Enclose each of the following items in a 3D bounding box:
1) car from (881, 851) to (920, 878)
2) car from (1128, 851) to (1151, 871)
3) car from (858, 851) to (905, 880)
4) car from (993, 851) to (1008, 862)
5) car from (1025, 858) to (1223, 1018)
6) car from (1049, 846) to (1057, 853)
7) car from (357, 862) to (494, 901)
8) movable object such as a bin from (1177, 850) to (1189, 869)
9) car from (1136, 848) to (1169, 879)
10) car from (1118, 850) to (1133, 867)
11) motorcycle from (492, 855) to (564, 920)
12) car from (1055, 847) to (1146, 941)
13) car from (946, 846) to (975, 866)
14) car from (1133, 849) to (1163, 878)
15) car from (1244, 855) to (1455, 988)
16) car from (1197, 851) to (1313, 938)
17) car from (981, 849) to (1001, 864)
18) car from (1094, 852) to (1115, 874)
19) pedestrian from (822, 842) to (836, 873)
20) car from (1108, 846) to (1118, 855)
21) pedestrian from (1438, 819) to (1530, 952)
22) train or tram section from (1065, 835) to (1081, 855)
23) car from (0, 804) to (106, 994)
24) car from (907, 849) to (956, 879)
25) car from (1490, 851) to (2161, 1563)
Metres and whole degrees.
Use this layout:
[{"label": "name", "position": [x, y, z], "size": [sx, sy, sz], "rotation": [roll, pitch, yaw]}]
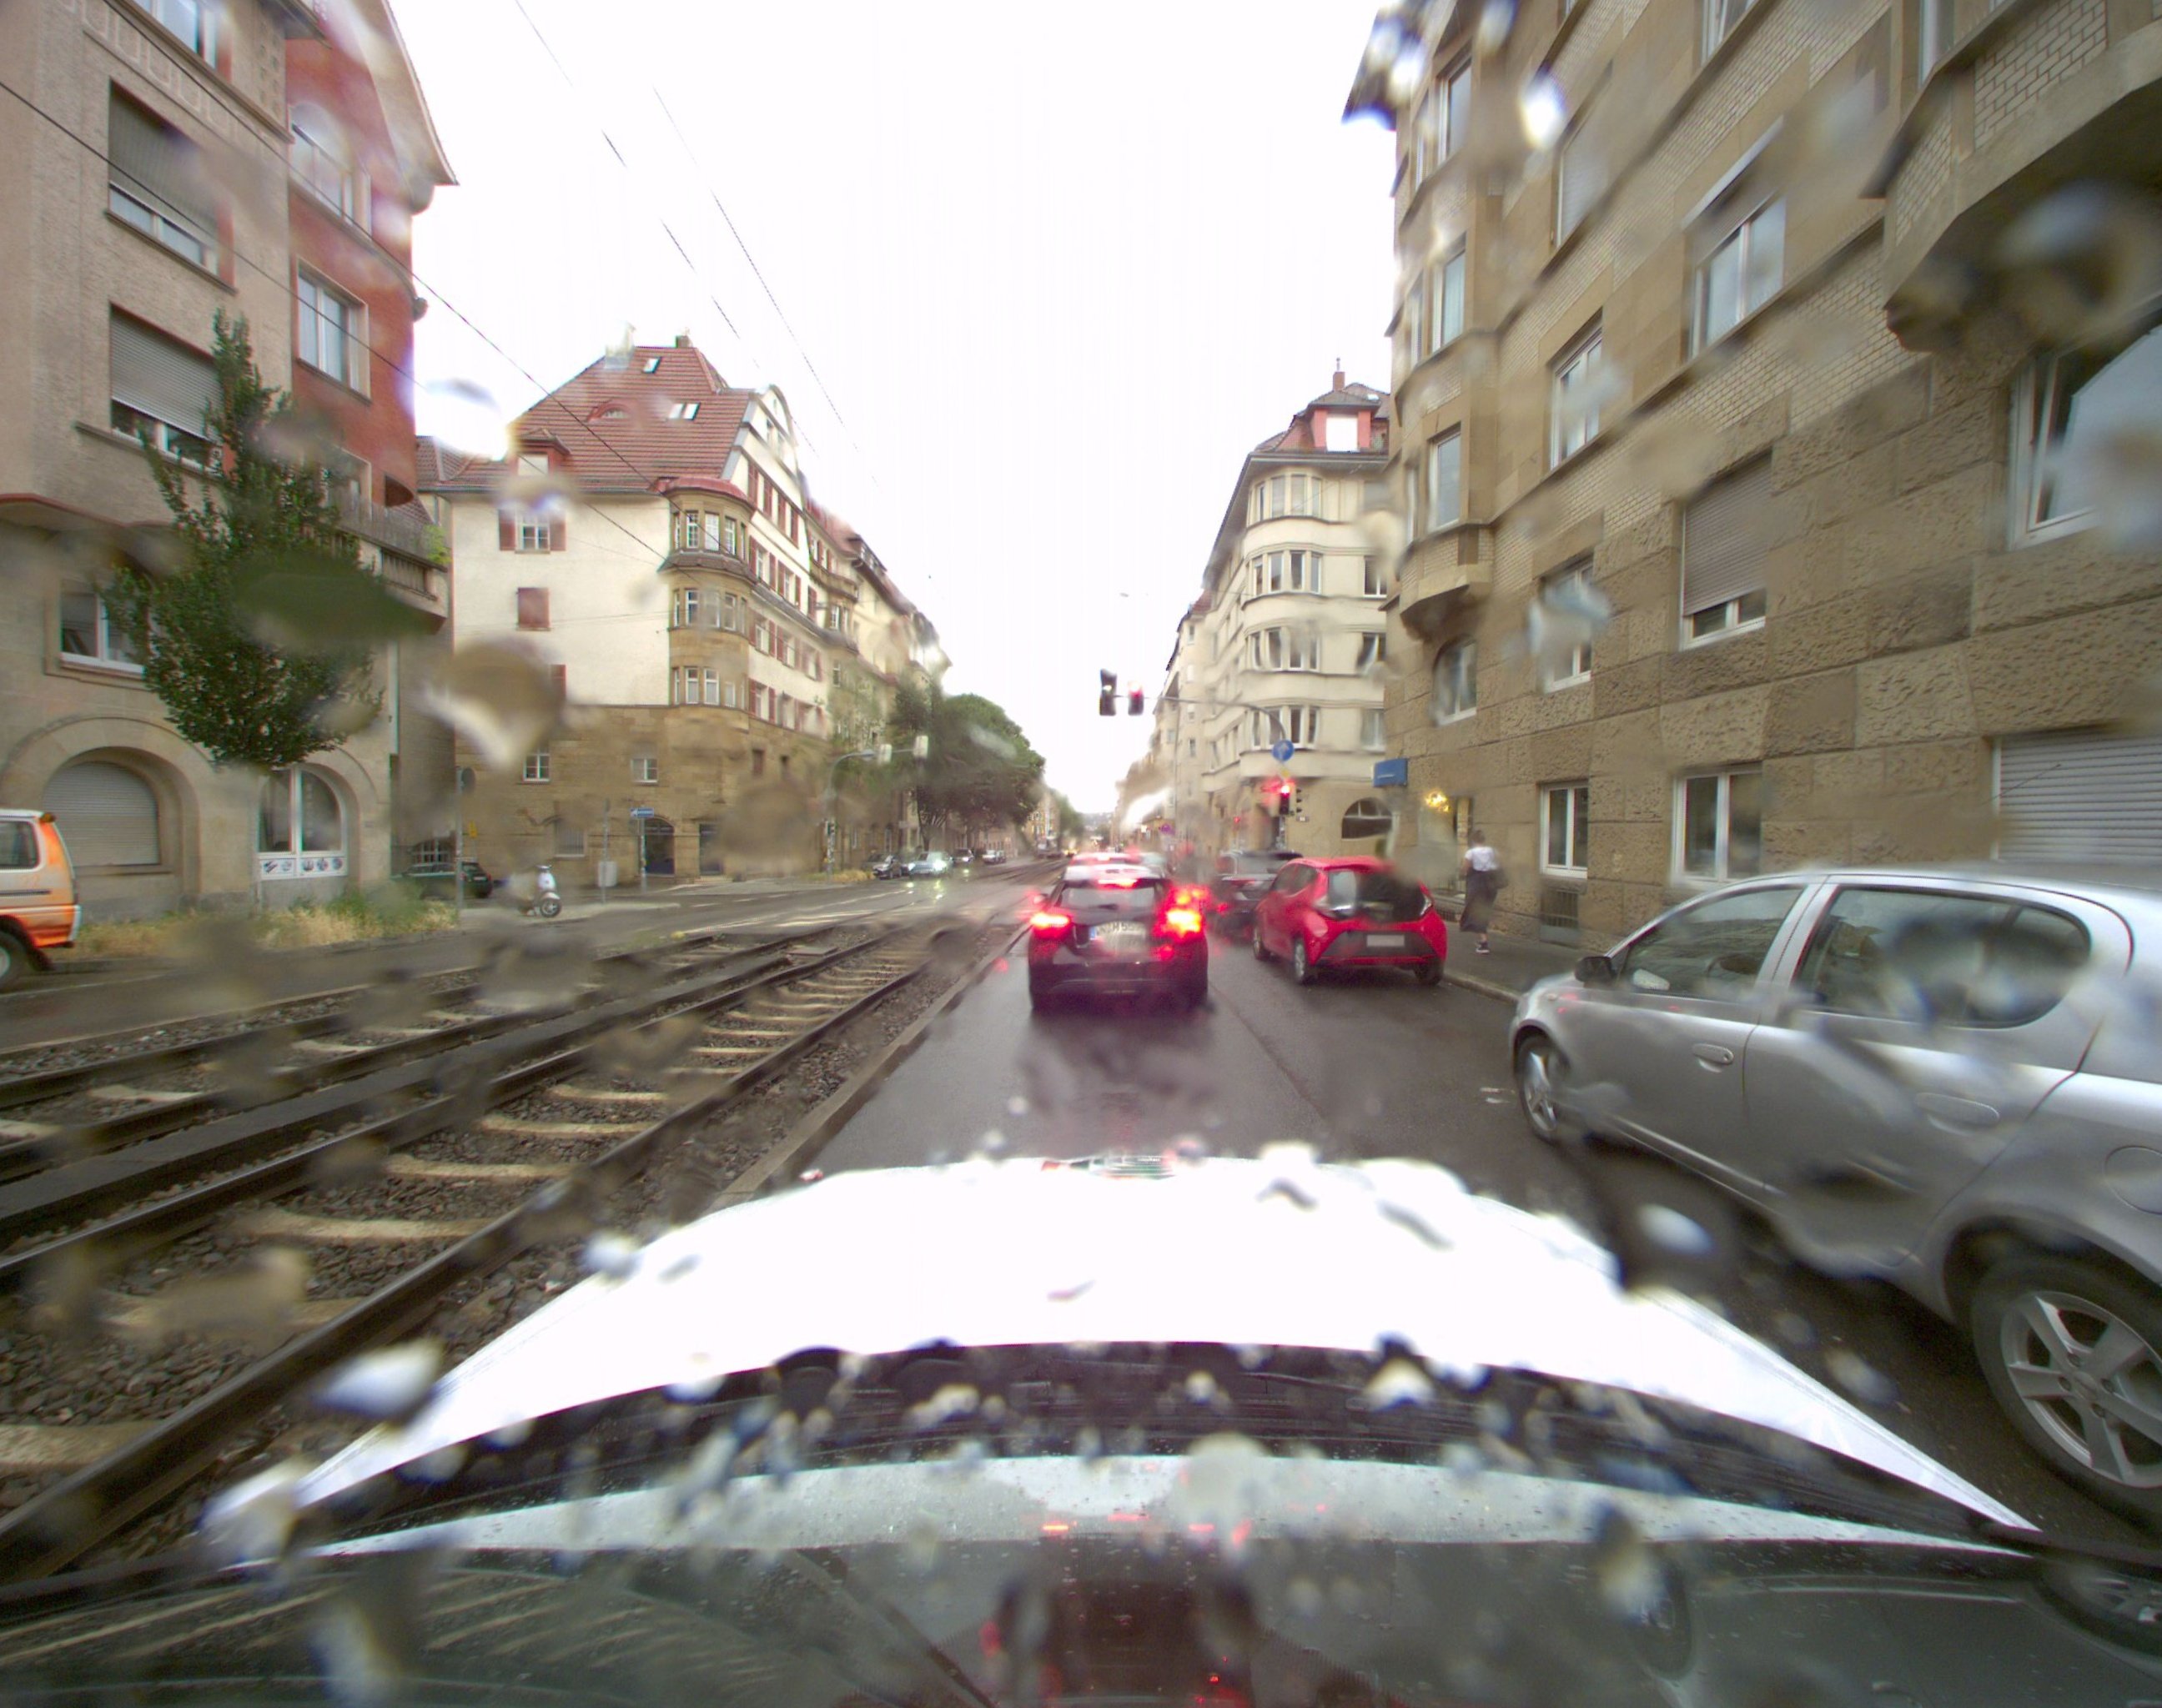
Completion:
[{"label": "car", "position": [-11.293, 0.639, 51.152], "size": [1.713, 1.611, 3.914], "rotation": [0, -1, -3]}, {"label": "car", "position": [4.409, 0.531, 61.583], "size": [1.539, 1.486, 3.549], "rotation": [0, 0, 2]}, {"label": "car", "position": [-11.261, 0.633, 46.117], "size": [1.747, 1.552, 4.033], "rotation": [0, -1, -2]}, {"label": "car", "position": [-9.804, 0.288, 99.013], "size": [1.443, 1.331, 3.271], "rotation": [0, -1, 0]}, {"label": "car", "position": [0.461, 0.782, 9.564], "size": [1.822, 1.458, 4.105], "rotation": [0, 0, 2]}, {"label": "car", "position": [-5.244, -0.867, 155.324], "size": [1.372, 1.249, 3.297], "rotation": [0, -1, 0]}, {"label": "car", "position": [-24.390, 0.997, 30.408], "size": [3.633, 1.404, 1.699], "rotation": [0, -1, -3]}, {"label": "movable object such as a bin", "position": [7.467, 0.426, 59.557], "size": [0.873, 1.389, 0.984], "rotation": [0, -1, 5]}, {"label": "car", "position": [3.695, 0.484, 42.702], "size": [1.539, 1.590, 3.549], "rotation": [0, 0, 2]}, {"label": "car", "position": [4.019, 0.405, 73.674], "size": [1.289, 1.442, 2.930], "rotation": [0, 0, 2]}, {"label": "motorcycle", "position": [-12.073, 0.705, 17.766], "size": [1.577, 1.365, 0.628], "rotation": [-1, -1, 28]}, {"label": "car", "position": [0.387, 0.700, 15.960], "size": [1.559, 1.609, 3.815], "rotation": [0, -1, 2]}, {"label": "car", "position": [-10.603, 0.208, 72.140], "size": [1.868, 1.737, 3.920], "rotation": [0, -1, 2]}, {"label": "car", "position": [3.836, 0.528, 47.176], "size": [1.539, 1.590, 3.549], "rotation": [0, 0, 2]}, {"label": "car", "position": [3.272, 0.737, 10.566], "size": [1.637, 1.448, 3.298], "rotation": [0, 0, -1]}, {"label": "car", "position": [3.237, 0.691, 15.810], "size": [1.539, 1.486, 3.831], "rotation": [0, 0, 2]}, {"label": "car", "position": [-9.874, 0.301, 89.597], "size": [1.583, 1.581, 3.920], "rotation": [0, -1, 2]}, {"label": "car", "position": [1.750, 0.640, 62.071], "size": [1.539, 1.636, 3.686], "rotation": [0, 0, 0]}, {"label": "pedestrian", "position": [-14.038, 0.199, 45.375], "size": [0.630, 1.672, 0.701], "rotation": [0, -1, -7]}, {"label": "car", "position": [6.818, -0.771, 174.352], "size": [1.986, 1.876, 4.001], "rotation": [0, -1, 2]}, {"label": "pedestrian", "position": [5.582, 0.422, 11.338], "size": [0.739, 1.748, 1.111], "rotation": [0, -1, 2]}, {"label": "train or tram section", "position": [-1.623, -1.825, 171.485], "size": [2.772, 3.861, 10.433], "rotation": [0, -1, 2]}, {"label": "car", "position": [-12.128, 0.462, 7.210], "size": [1.725, 1.975, 4.341], "rotation": [0, -1, 0]}, {"label": "car", "position": [-8.276, 0.576, 45.431], "size": [1.891, 1.588, 3.974], "rotation": [0, -1, 2]}, {"label": "car", "position": [3.141, 0.744, 3.100], "size": [1.608, 1.467, 3.314], "rotation": [-2, 0, 3]}]
